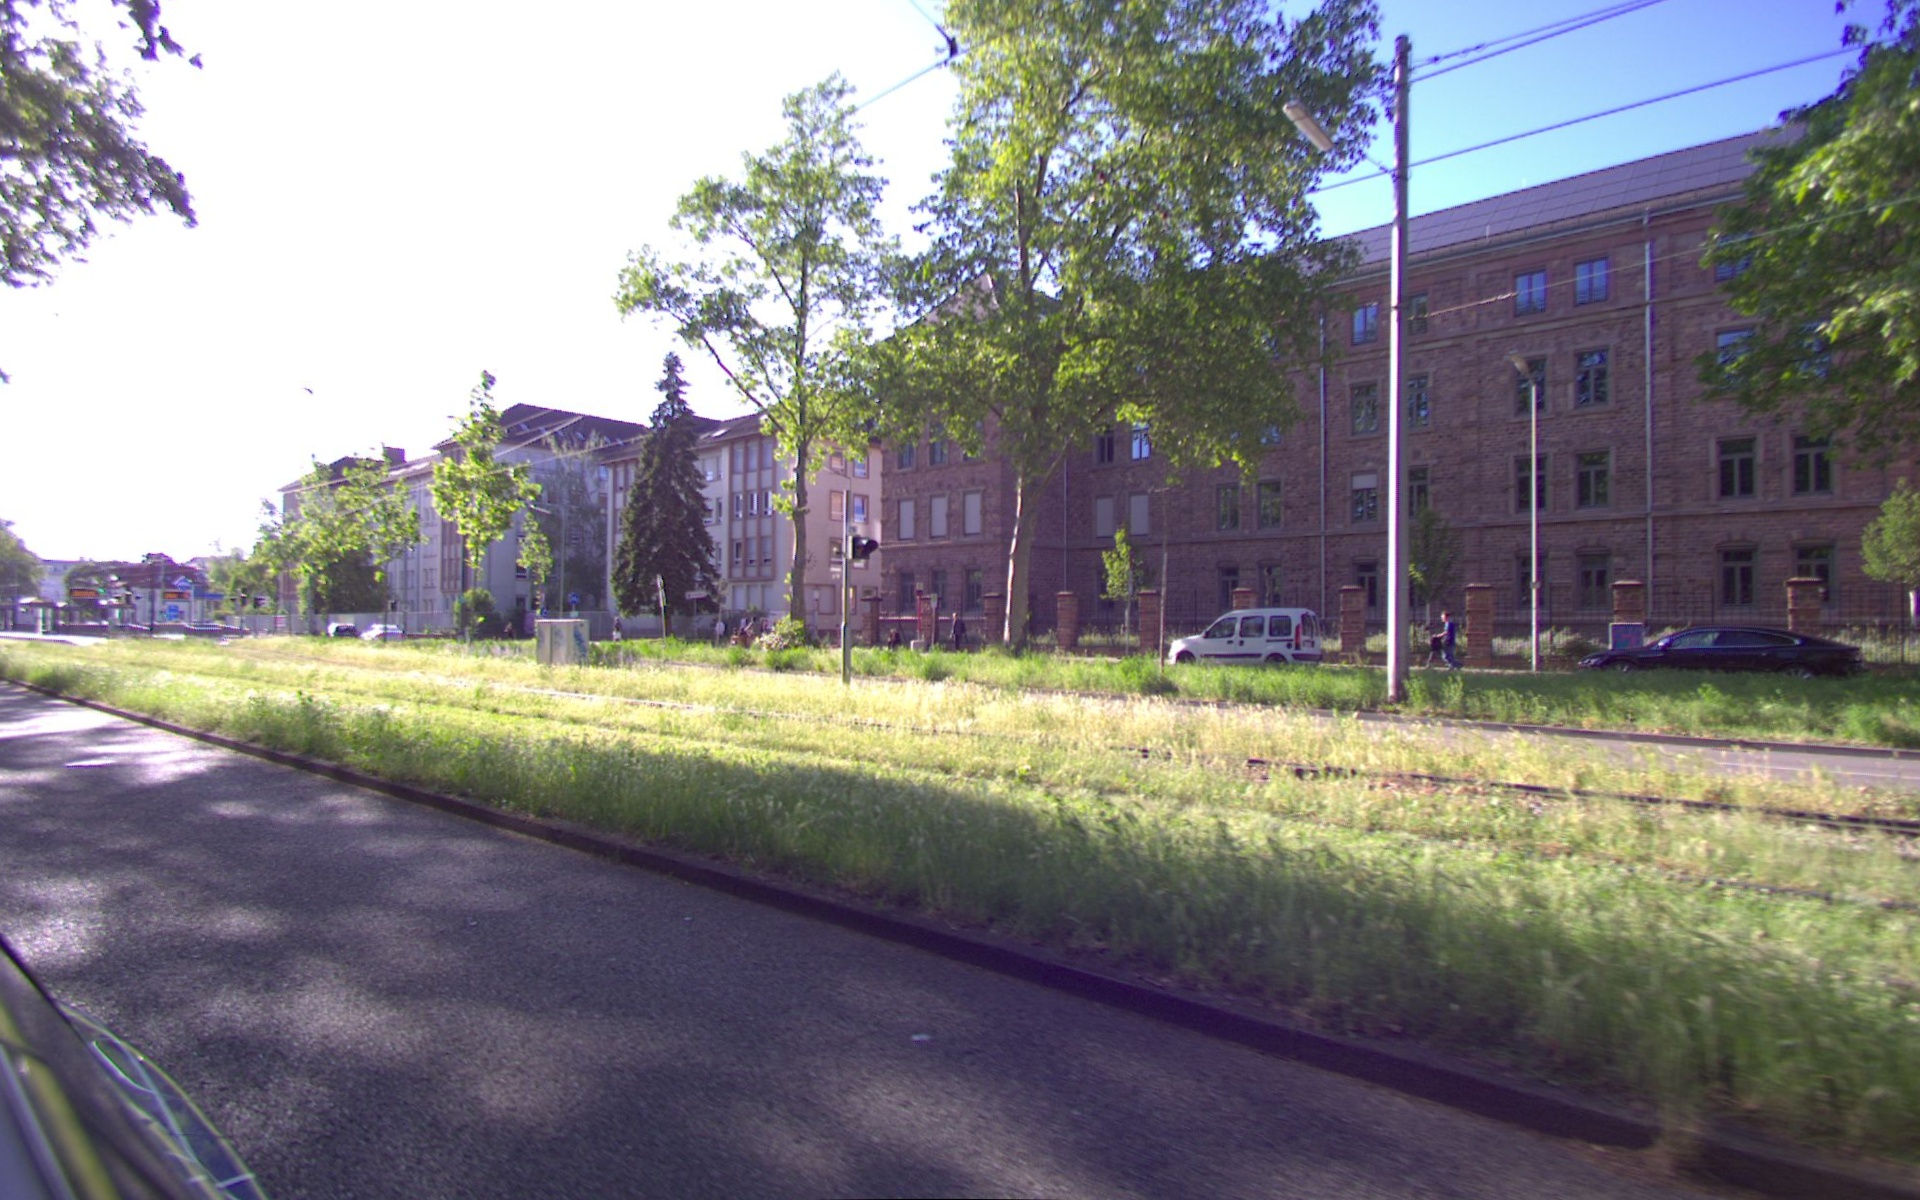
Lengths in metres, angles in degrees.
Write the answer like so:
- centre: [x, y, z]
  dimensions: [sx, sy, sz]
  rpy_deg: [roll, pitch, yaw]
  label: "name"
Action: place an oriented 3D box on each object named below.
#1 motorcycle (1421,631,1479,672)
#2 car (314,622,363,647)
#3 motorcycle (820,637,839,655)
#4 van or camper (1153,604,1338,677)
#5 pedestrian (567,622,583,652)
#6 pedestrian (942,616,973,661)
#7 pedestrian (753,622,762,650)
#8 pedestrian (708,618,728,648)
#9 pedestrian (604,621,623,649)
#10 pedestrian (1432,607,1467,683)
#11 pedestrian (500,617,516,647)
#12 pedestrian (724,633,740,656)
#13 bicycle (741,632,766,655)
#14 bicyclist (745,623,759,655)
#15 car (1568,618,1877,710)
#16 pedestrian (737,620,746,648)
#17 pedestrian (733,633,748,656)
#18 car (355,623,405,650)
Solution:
- centre: [13.288, 1.382, 27.442]
  dimensions: [1.293, 1.061, 0.577]
  rpy_deg: [-1, -2, 41]
  label: "motorcycle"
- centre: [-43.448, 2.406, 70.767]
  dimensions: [4.151, 1.720, 1.971]
  rpy_deg: [-2, -2, 44]
  label: "car"
- centre: [-6.897, 2.417, 53.495]
  dimensions: [1.043, 0.953, 0.331]
  rpy_deg: [-1, -2, 37]
  label: "motorcycle"
- centre: [7.673, 1.073, 27.378]
  dimensions: [4.427, 1.801, 1.974]
  rpy_deg: [-1, -3, 39]
  label: "van or camper"
- centre: [-24.022, 2.304, 63.132]
  dimensions: [0.572, 1.851, 0.685]
  rpy_deg: [-2, -2, 40]
  label: "pedestrian"
- centre: [-0.108, 1.636, 43.211]
  dimensions: [0.941, 1.914, 0.891]
  rpy_deg: [-2, -3, 42]
  label: "pedestrian"
- centre: [-12.365, 2.170, 61.718]
  dimensions: [0.371, 1.708, 0.449]
  rpy_deg: [1, -2, -43]
  label: "pedestrian"
- centre: [-13.506, 1.842, 56.532]
  dimensions: [0.875, 1.708, 0.679]
  rpy_deg: [-1, -2, 13]
  label: "pedestrian"
- centre: [-21.266, 2.155, 62.127]
  dimensions: [0.819, 1.708, 0.677]
  rpy_deg: [-1, -2, 22]
  label: "pedestrian"
- centre: [13.272, 1.221, 27.457]
  dimensions: [0.710, 2.029, 0.579]
  rpy_deg: [-1, -2, 40]
  label: "pedestrian"
- centre: [-30.891, 2.180, 69.123]
  dimensions: [0.860, 2.029, 0.656]
  rpy_deg: [-2, -2, 40]
  label: "pedestrian"
- centre: [-11.083, 2.145, 49.277]
  dimensions: [0.478, 1.108, 0.580]
  rpy_deg: [-2, -3, 39]
  label: "pedestrian"
- centre: [-9.867, 2.079, 48.268]
  dimensions: [1.172, 1.076, 0.458]
  rpy_deg: [-1, -2, 32]
  label: "bicycle"
- centre: [-9.935, 1.852, 48.314]
  dimensions: [0.501, 1.510, 0.450]
  rpy_deg: [-1, -2, 31]
  label: "bicyclist"
- centre: [15.380, 1.250, 20.638]
  dimensions: [4.825, 1.662, 1.972]
  rpy_deg: [-2, -3, 42]
  label: "car"
- centre: [-13.166, 2.040, 61.057]
  dimensions: [0.371, 1.708, 0.449]
  rpy_deg: [1, -2, -43]
  label: "pedestrian"
- centre: [-10.591, 2.134, 48.918]
  dimensions: [0.586, 1.108, 0.439]
  rpy_deg: [-2, -2, 36]
  label: "pedestrian"
- centre: [-36.456, 2.258, 63.566]
  dimensions: [1.744, 1.635, 4.479]
  rpy_deg: [1, -2, -43]
  label: "car"
